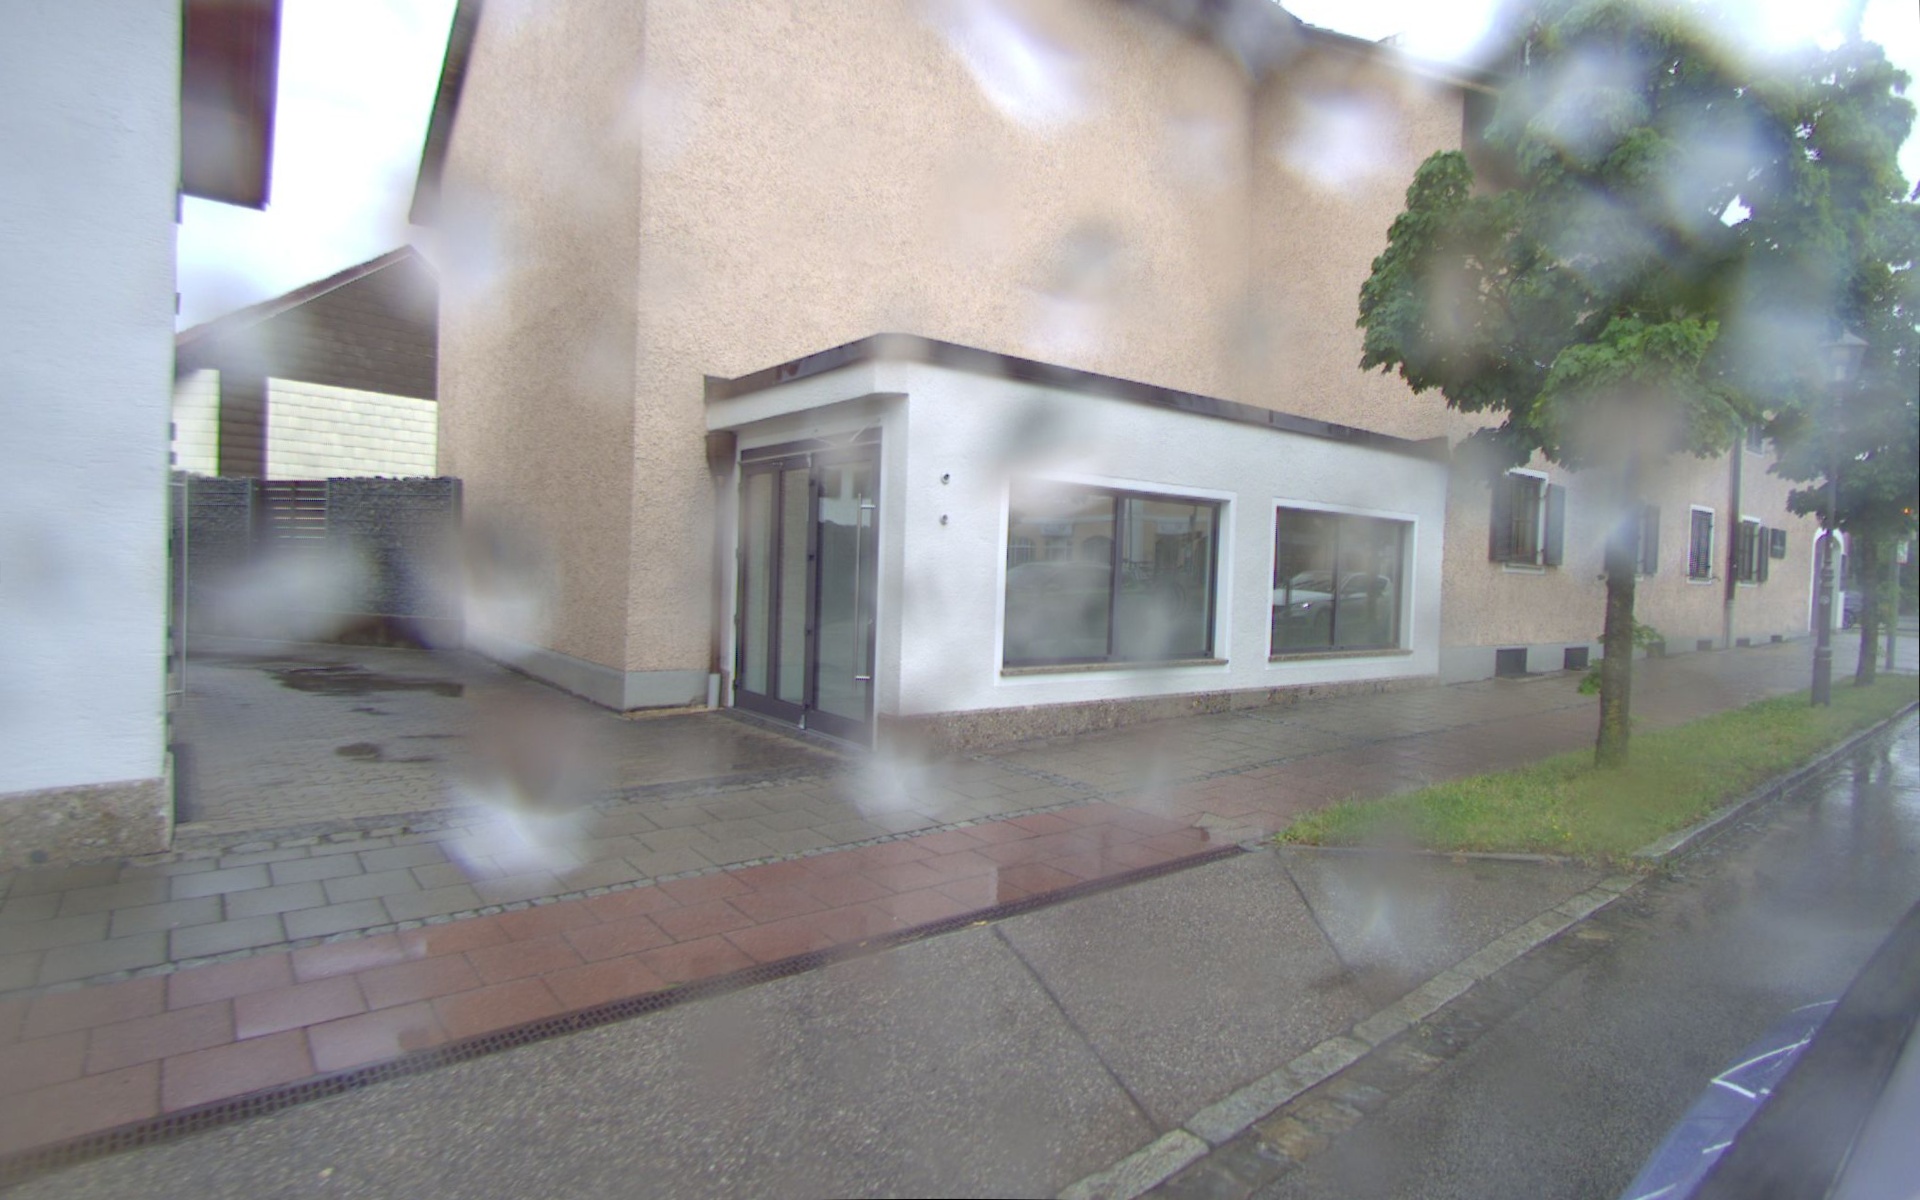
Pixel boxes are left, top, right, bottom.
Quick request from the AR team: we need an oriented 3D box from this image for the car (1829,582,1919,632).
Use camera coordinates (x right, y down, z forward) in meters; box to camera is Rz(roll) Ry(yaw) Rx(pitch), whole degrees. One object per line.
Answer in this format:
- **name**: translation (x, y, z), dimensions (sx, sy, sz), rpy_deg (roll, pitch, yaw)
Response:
- **car**: translation (35.060, 0.286, 37.460), dimensions (4.005, 1.685, 1.837), rpy_deg (4, 3, 31)
